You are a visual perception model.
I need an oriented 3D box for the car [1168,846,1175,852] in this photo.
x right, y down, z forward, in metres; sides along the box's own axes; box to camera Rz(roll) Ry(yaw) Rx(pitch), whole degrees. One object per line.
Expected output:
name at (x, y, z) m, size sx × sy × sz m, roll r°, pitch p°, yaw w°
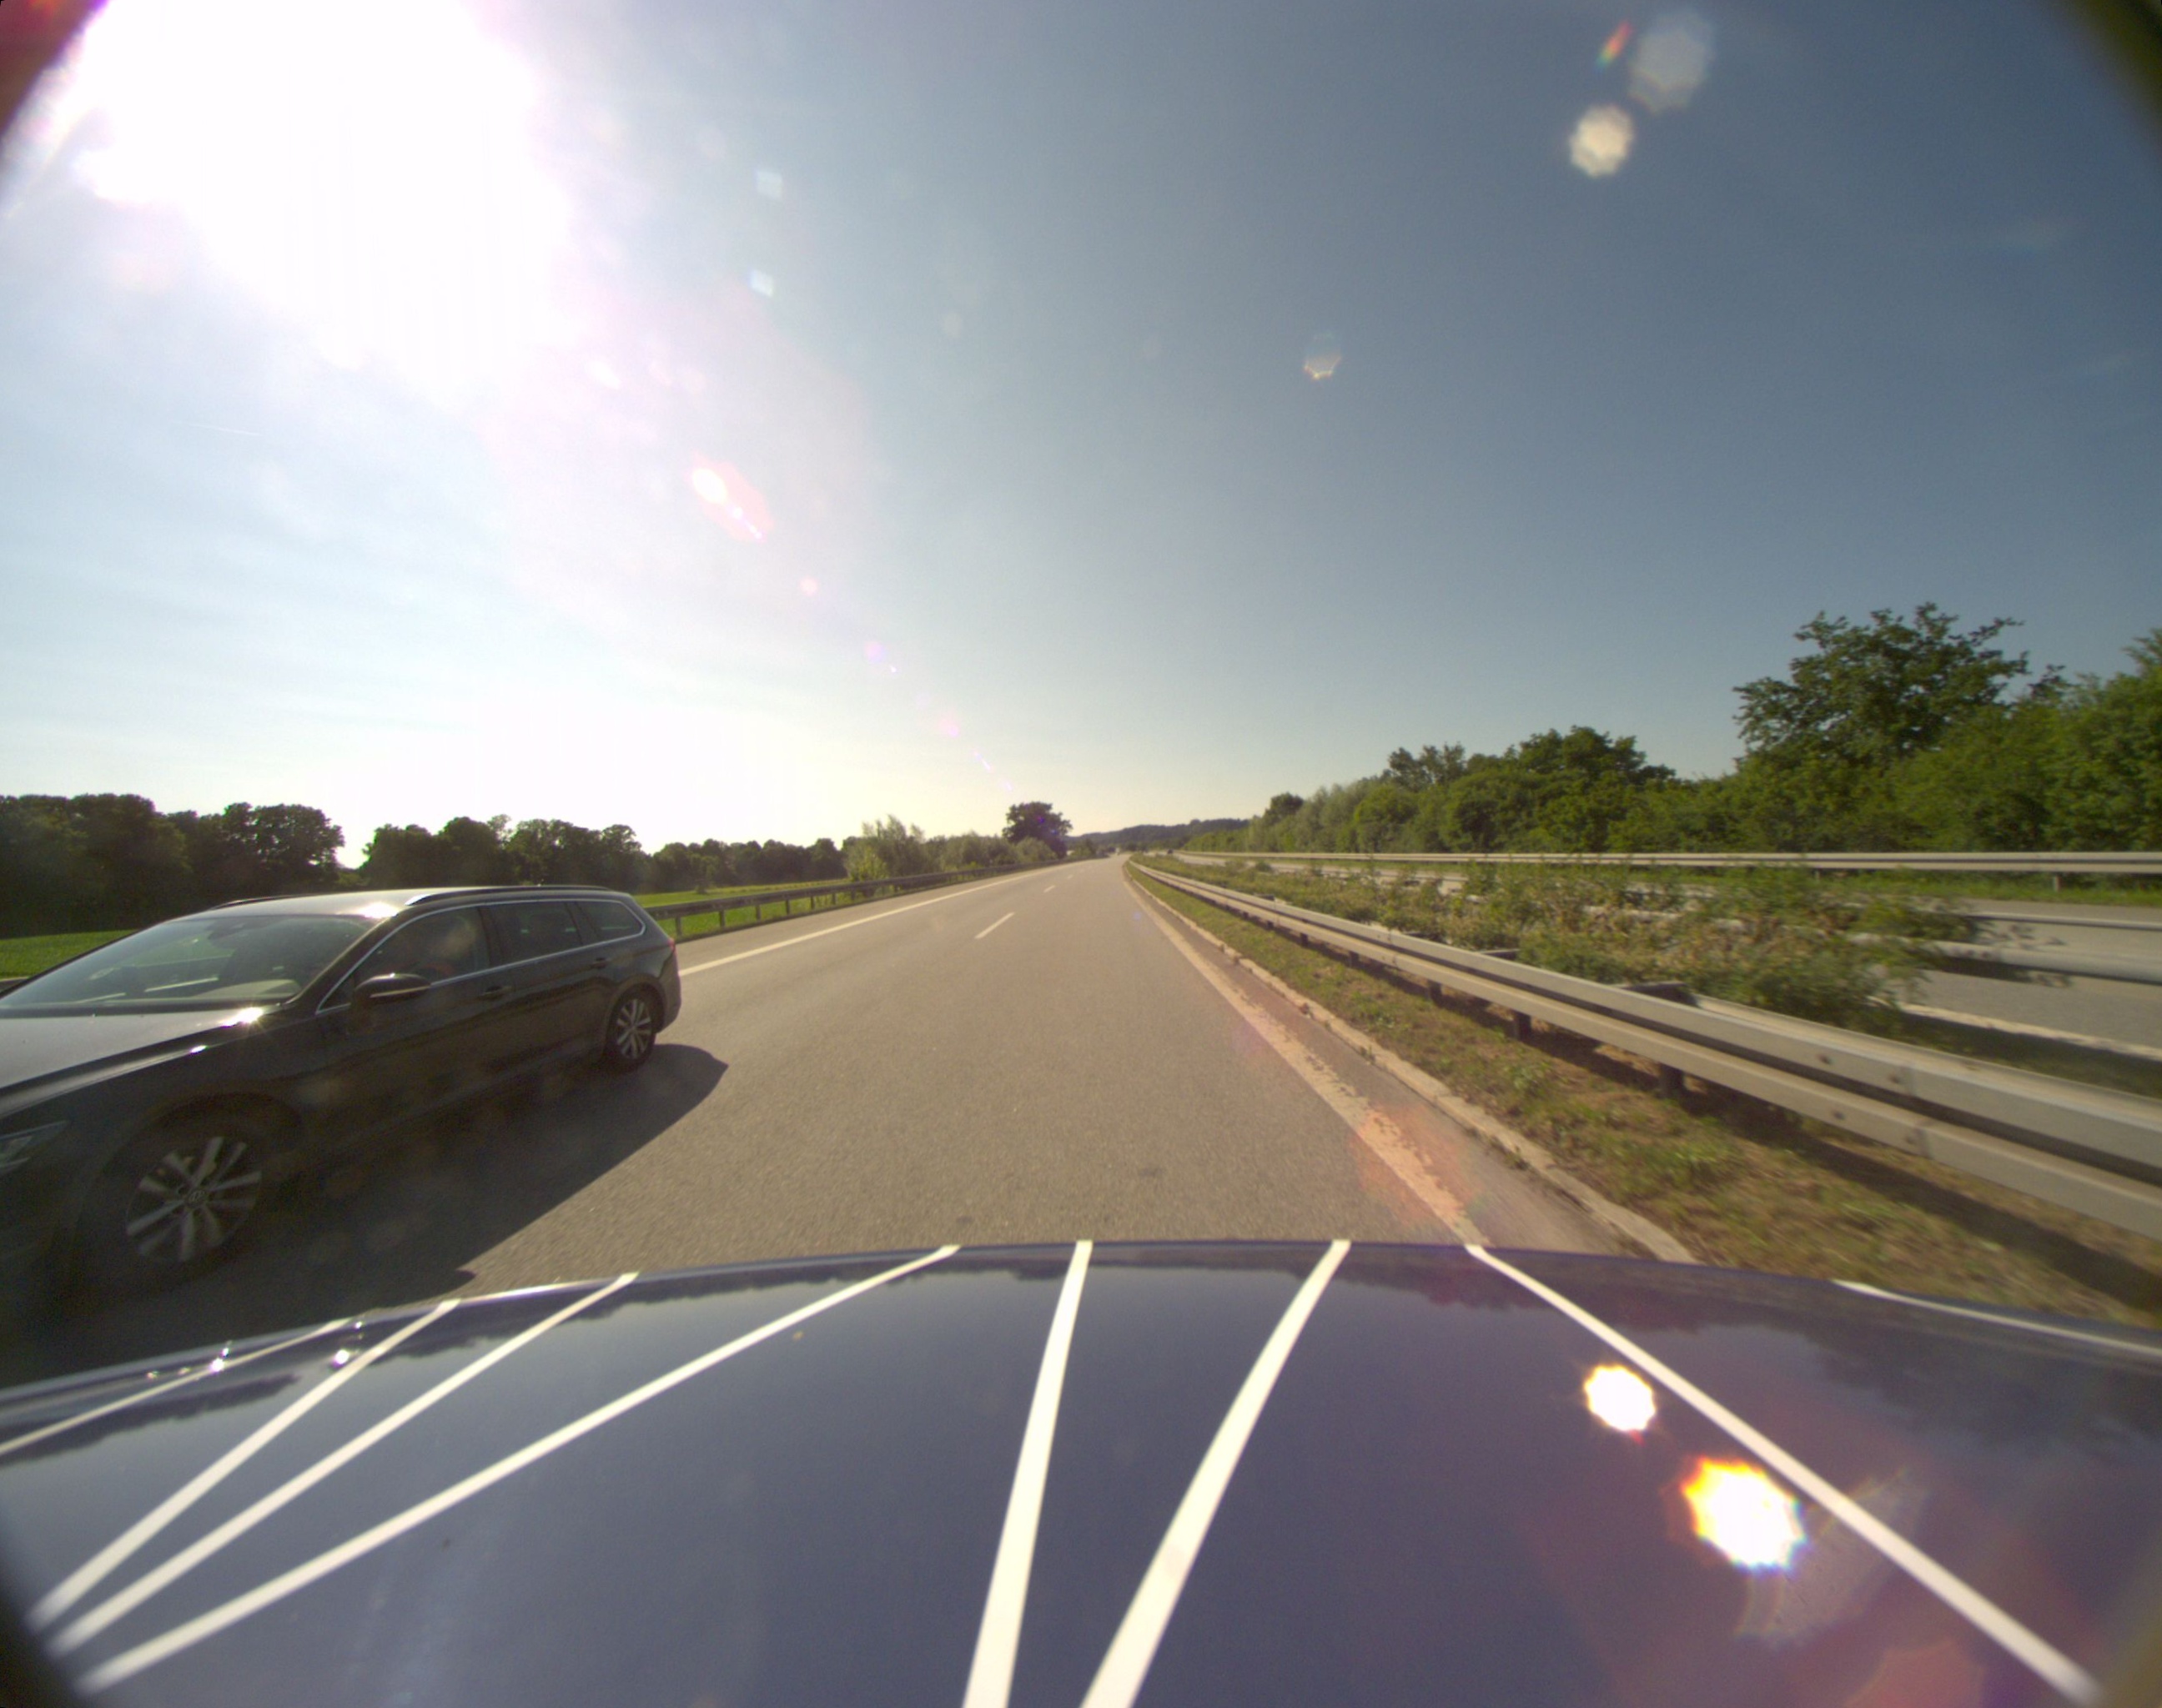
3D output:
car at (25.065, -1.367, 210.951) m, size 1.680 × 1.433 × 4.001 m, roll -1°, pitch 0°, yaw 3°

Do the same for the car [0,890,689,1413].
car at (-4.210, 1.051, 4.133) m, size 1.723 × 1.392 × 4.413 m, roll -2°, pitch 1°, yaw 1°
